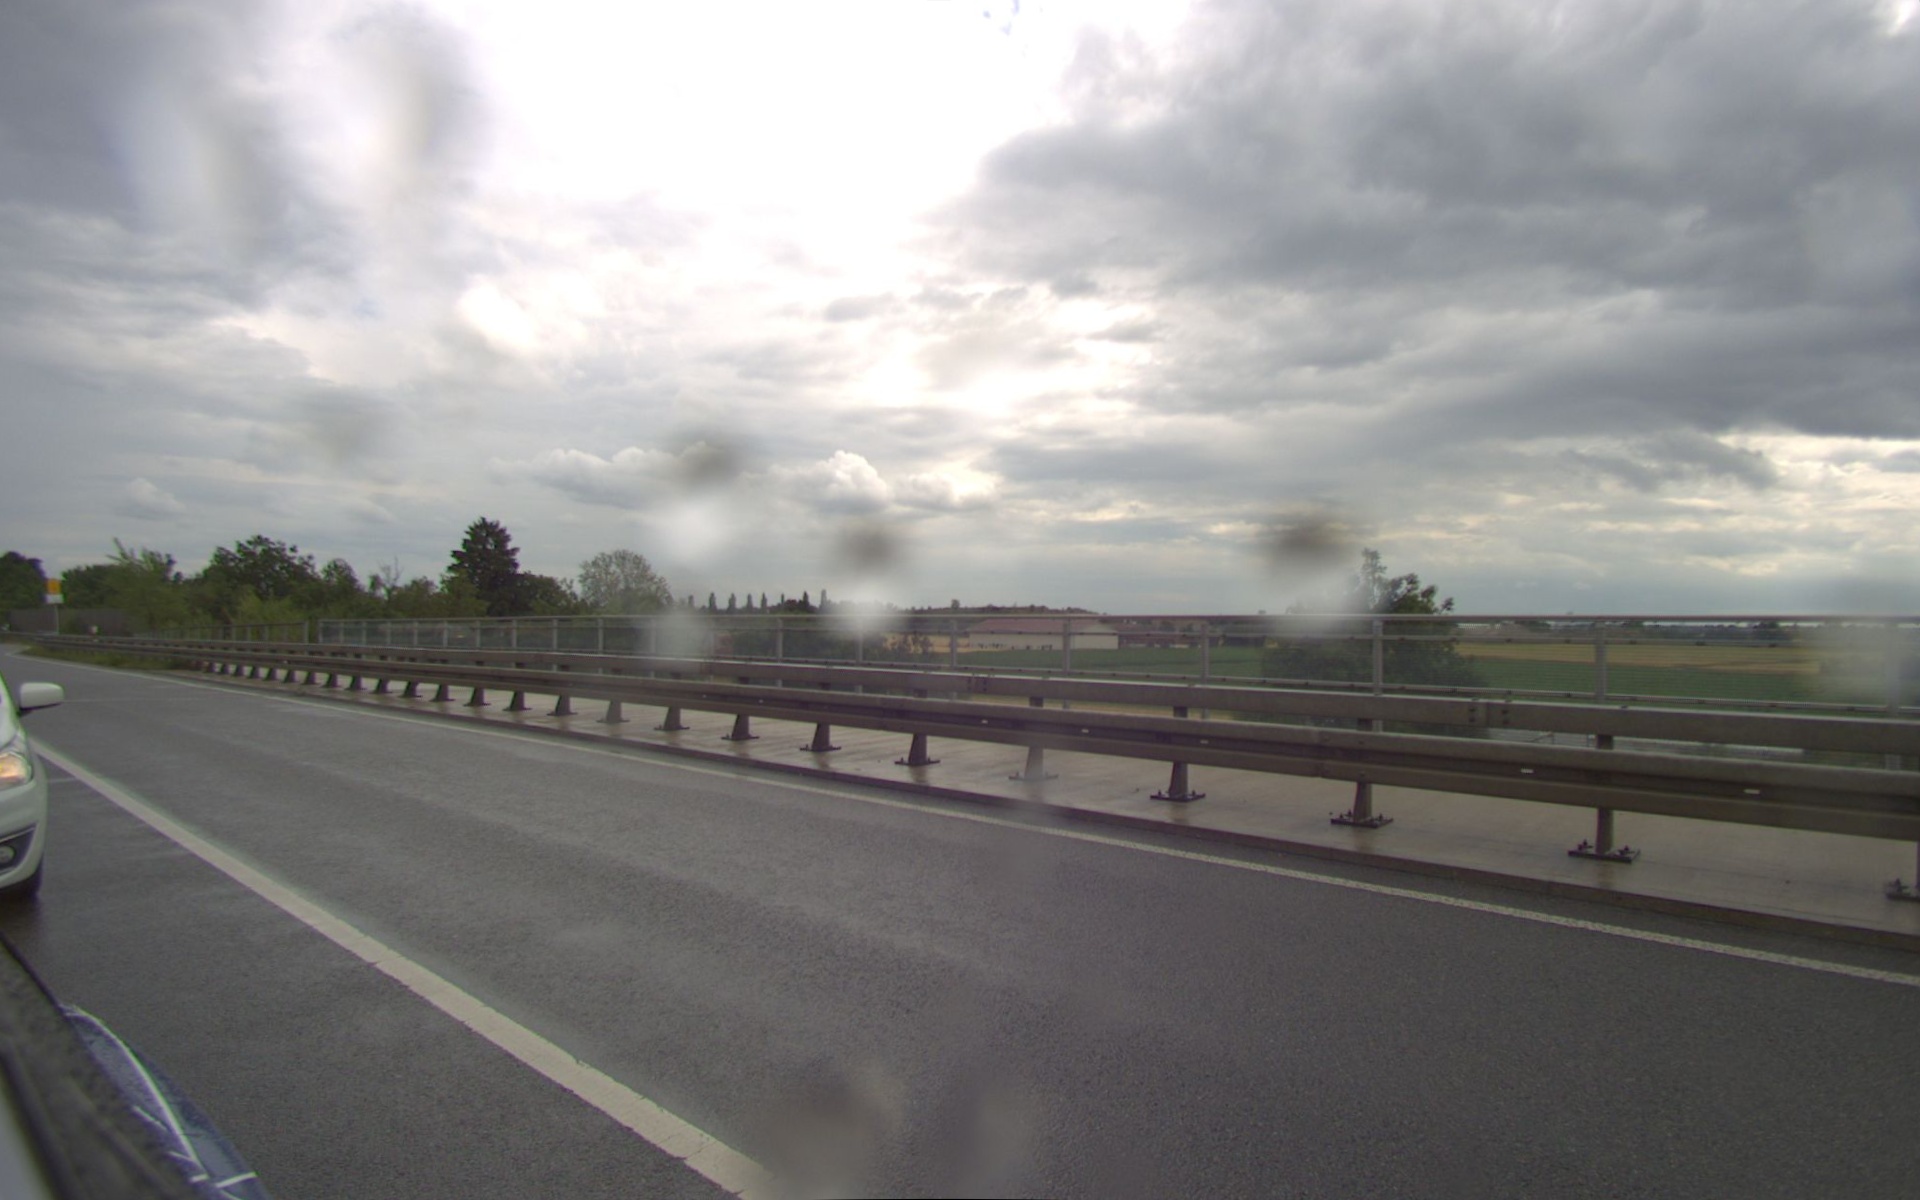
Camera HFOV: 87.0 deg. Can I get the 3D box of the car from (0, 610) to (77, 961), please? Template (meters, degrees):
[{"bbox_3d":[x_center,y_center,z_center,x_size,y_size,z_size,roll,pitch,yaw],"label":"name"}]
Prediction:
[{"bbox_3d":[-6.021,0.809,5.240,4.127,1.496,1.653,0,0,41],"label":"car"}]
